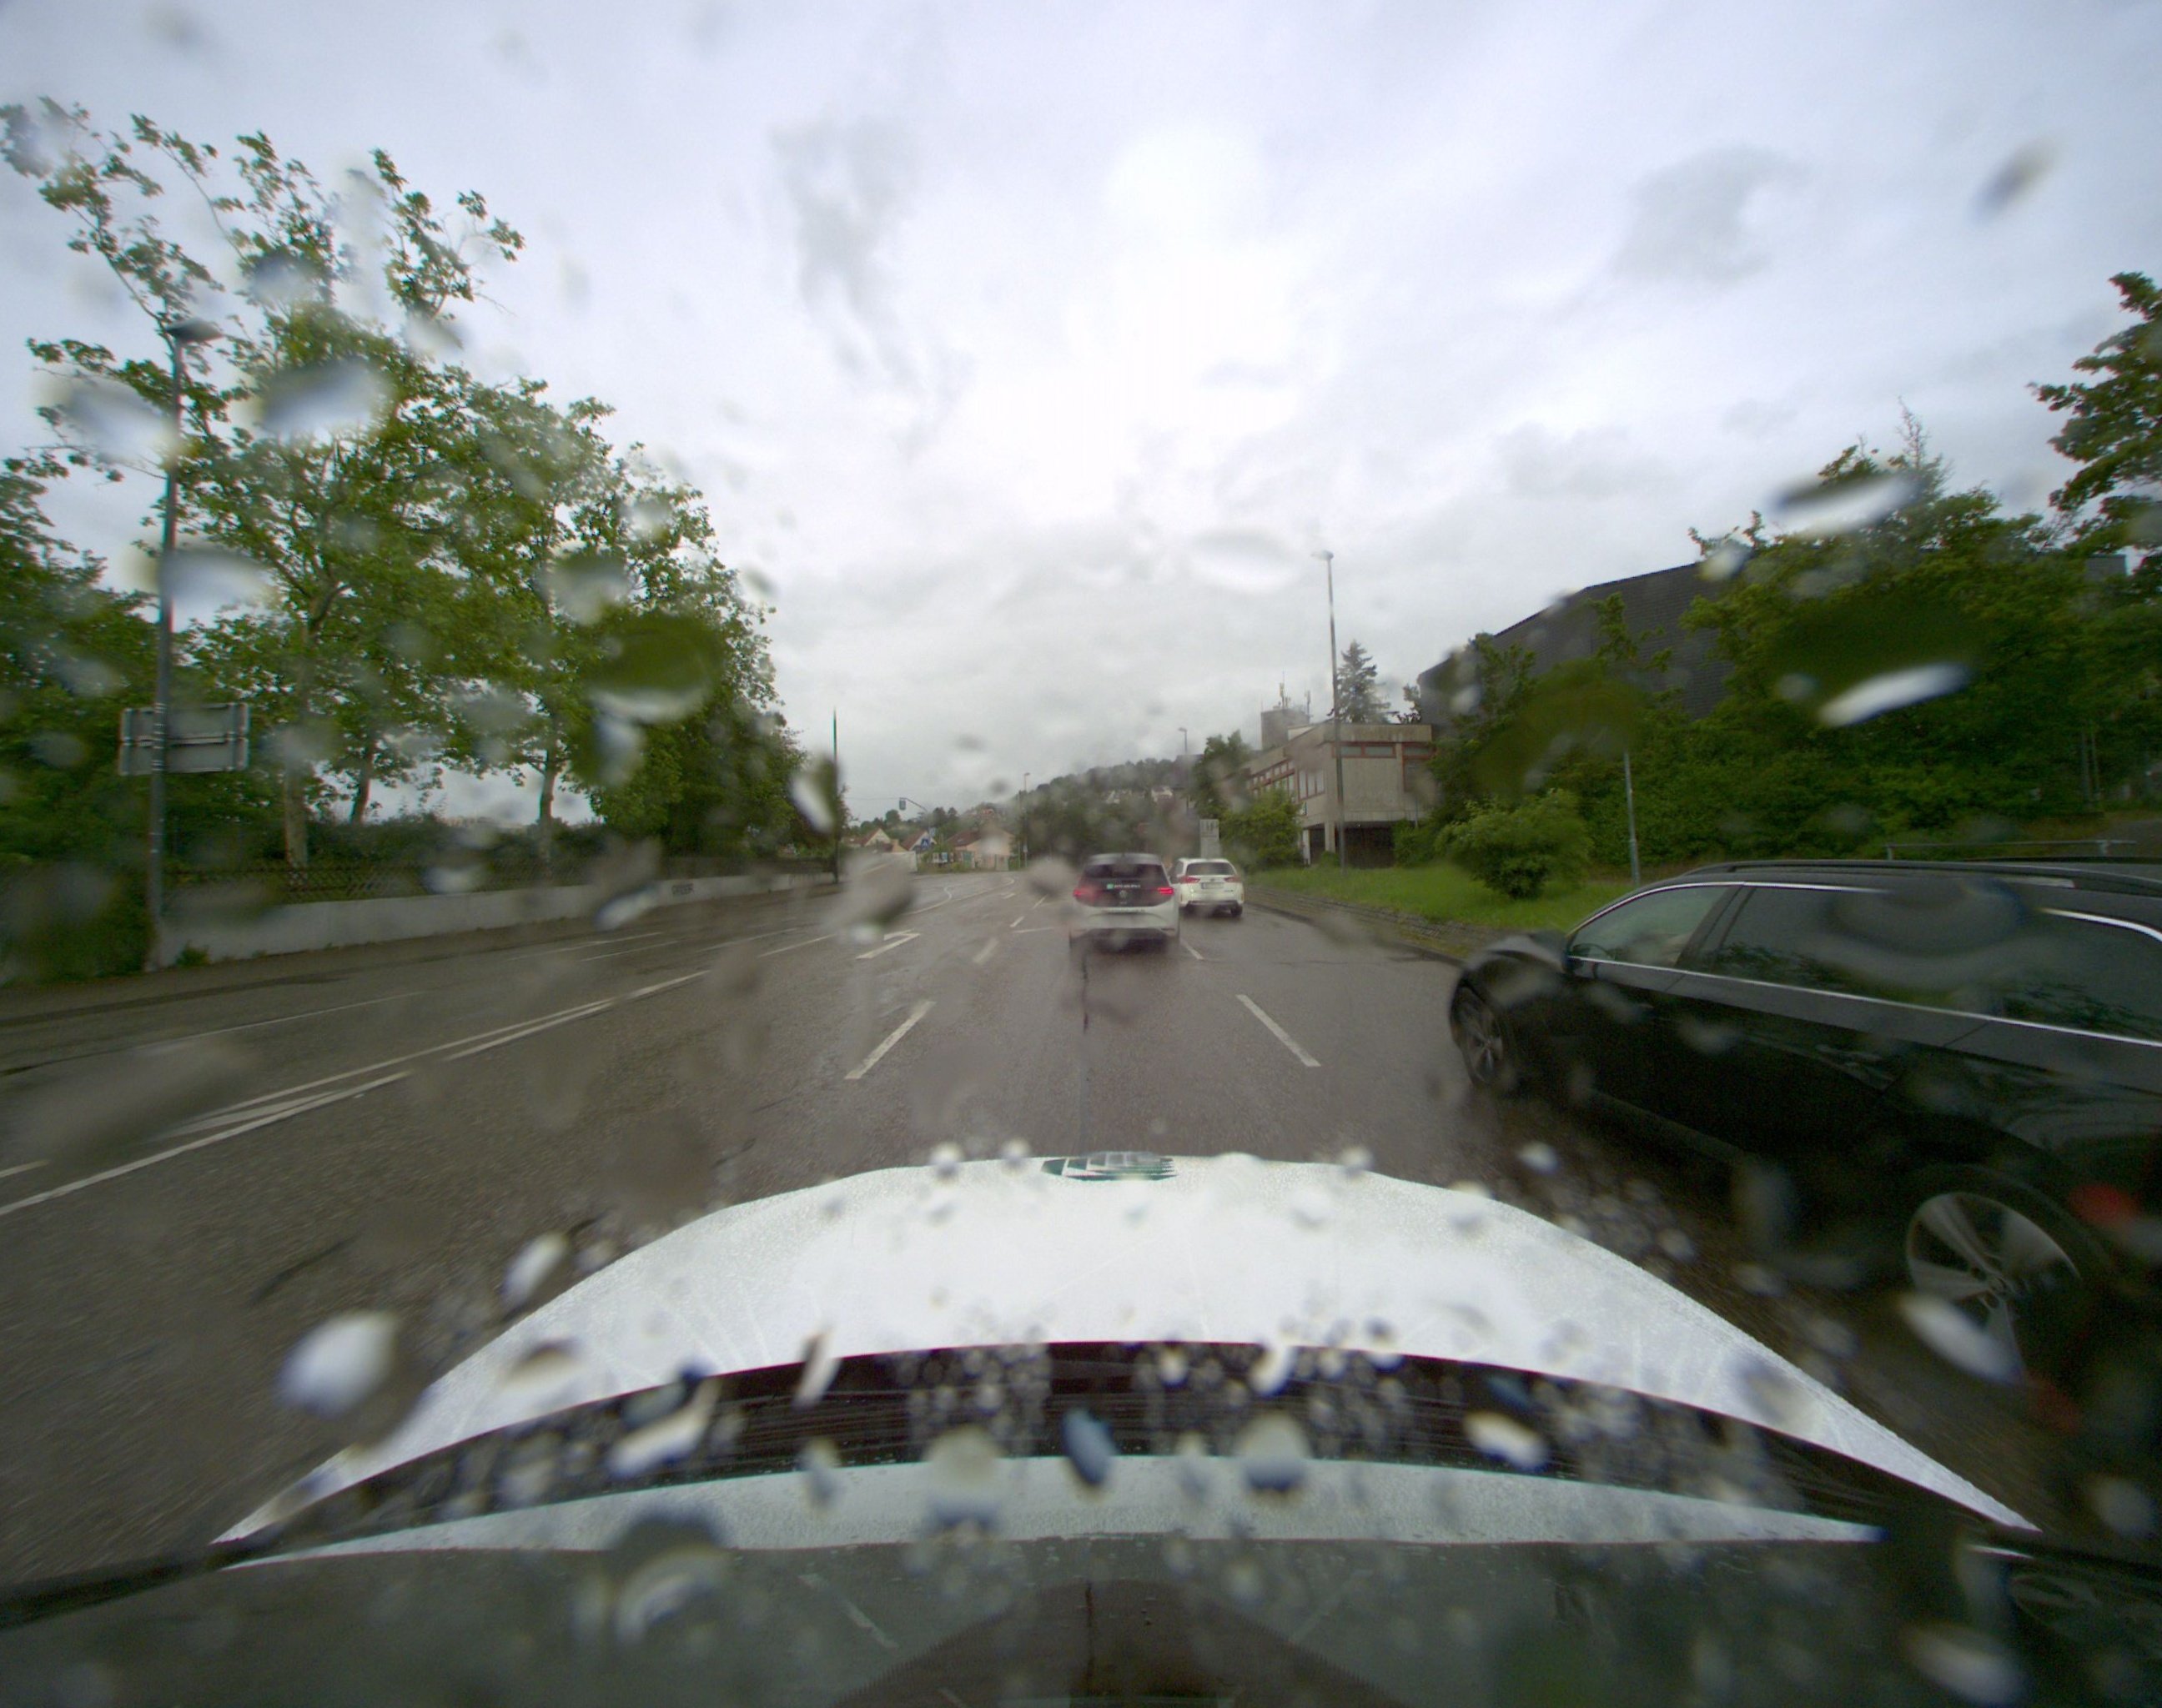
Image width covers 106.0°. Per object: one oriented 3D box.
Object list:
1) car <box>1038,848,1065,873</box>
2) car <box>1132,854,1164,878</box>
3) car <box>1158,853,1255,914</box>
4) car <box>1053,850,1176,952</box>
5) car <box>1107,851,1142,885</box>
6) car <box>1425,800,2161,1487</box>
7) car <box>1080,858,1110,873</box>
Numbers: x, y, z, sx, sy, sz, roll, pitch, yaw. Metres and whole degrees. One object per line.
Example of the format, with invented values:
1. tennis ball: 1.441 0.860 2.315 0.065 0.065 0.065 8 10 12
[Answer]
1. car: -2.518 0.577 69.402 1.986 2.014 4.002 0 -1 2
2. car: 4.507 0.834 54.854 1.984 1.453 3.775 -4 -1 4
3. car: 3.170 0.727 21.368 1.842 1.410 4.299 -1 -1 -1
4. car: 0.661 0.740 14.270 1.820 1.500 4.173 -1 -1 4
5. car: 2.099 0.645 39.979 1.561 1.530 4.002 -1 0 2
6. car: 3.381 0.680 3.467 1.947 1.507 4.608 1 -1 1
7. car: 1.686 1.361 93.477 1.977 1.693 4.728 -1 -1 20
